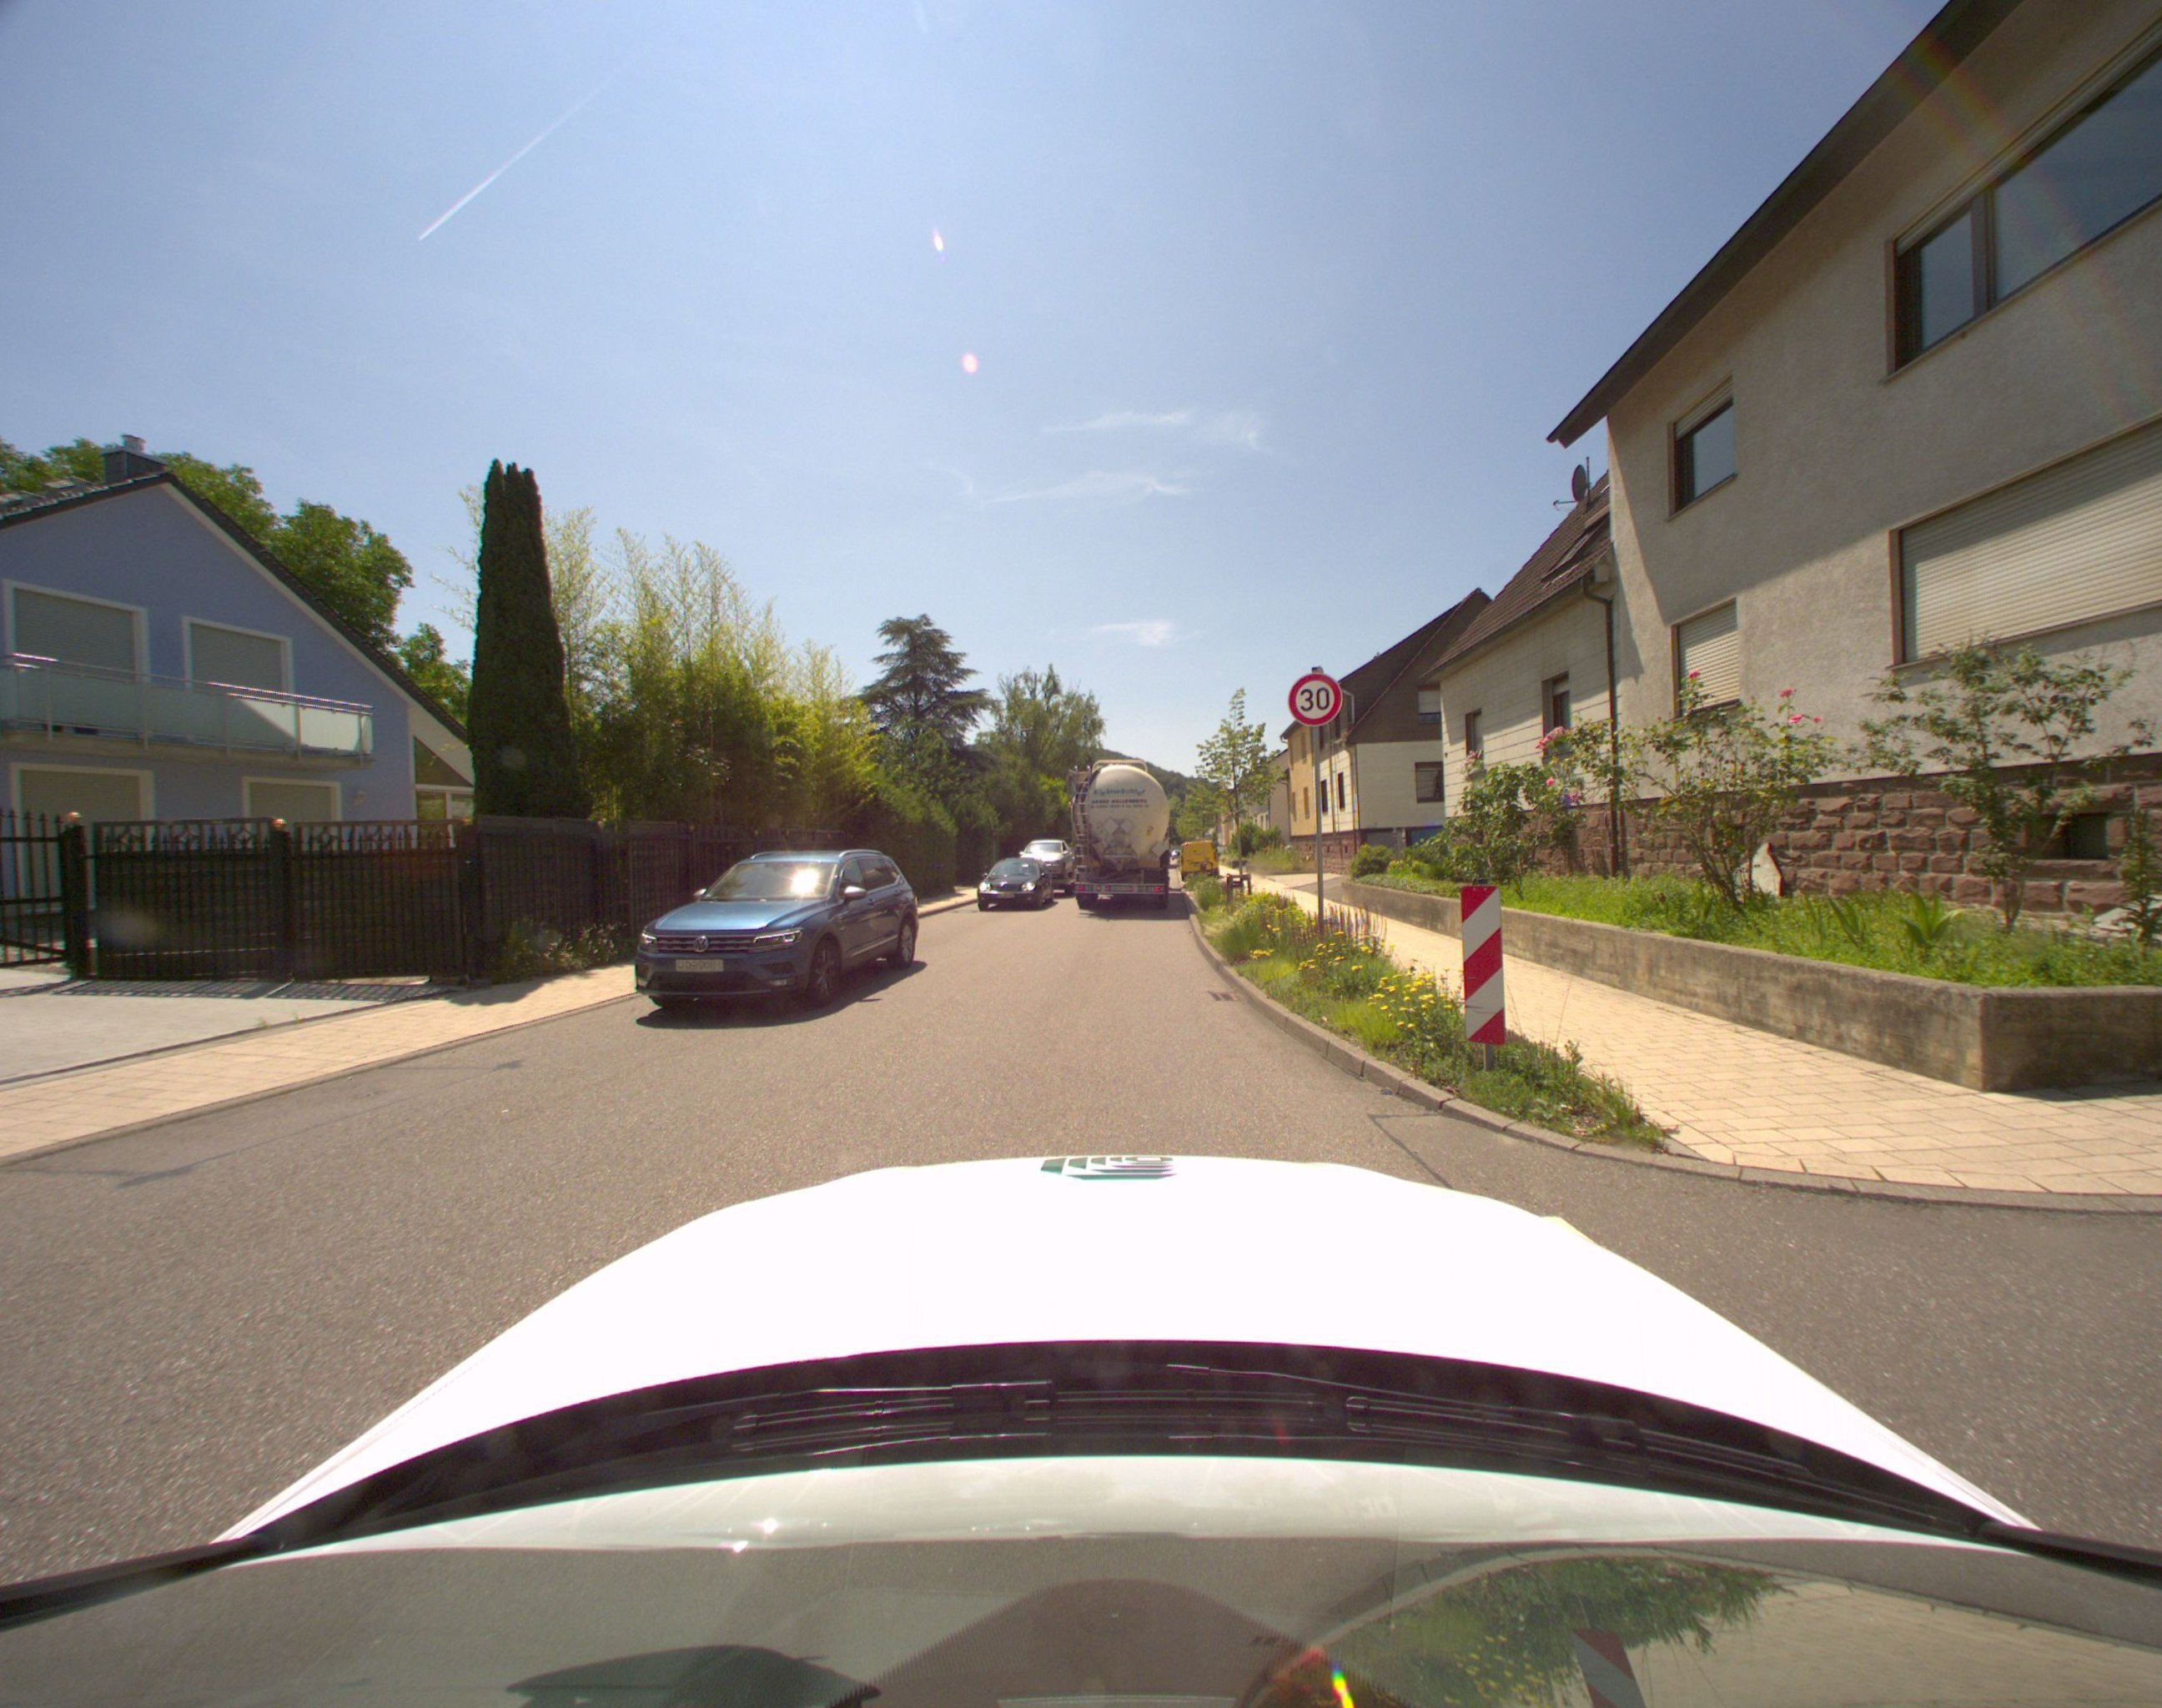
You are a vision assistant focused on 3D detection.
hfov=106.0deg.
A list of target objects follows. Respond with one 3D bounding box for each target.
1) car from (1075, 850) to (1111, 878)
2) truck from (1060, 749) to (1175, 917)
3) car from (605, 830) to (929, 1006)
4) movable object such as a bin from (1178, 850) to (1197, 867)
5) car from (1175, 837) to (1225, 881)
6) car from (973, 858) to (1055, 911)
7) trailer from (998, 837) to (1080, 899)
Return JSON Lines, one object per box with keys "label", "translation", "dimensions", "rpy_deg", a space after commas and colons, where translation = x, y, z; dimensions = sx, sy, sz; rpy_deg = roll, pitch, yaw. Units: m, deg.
{"label": "car", "translation": [0.794, 0.582, 50.423], "dimensions": [1.858, 1.652, 3.955], "rpy_deg": [0, 0, 6]}
{"label": "truck", "translation": [1.493, -0.536, 25.332], "dimensions": [2.736, 4.056, 10.909], "rpy_deg": [-1, 0, 6]}
{"label": "car", "translation": [-3.411, 0.628, 10.013], "dimensions": [1.879, 1.645, 4.619], "rpy_deg": [0, -1, 4]}
{"label": "movable object such as a bin", "translation": [9.594, 0.413, 73.343], "dimensions": [1.564, 1.417, 3.046], "rpy_deg": [-2, -1, 6]}
{"label": "car", "translation": [6.307, 0.281, 43.760], "dimensions": [2.179, 2.013, 5.630], "rpy_deg": [-6, -1, 5]}
{"label": "car", "translation": [-1.866, 0.846, 23.955], "dimensions": [1.758, 1.402, 4.252], "rpy_deg": [0, -1, 4]}
{"label": "trailer", "translation": [-1.362, 0.478, 29.189], "dimensions": [2.146, 1.987, 6.208], "rpy_deg": [0, -1, 4]}
